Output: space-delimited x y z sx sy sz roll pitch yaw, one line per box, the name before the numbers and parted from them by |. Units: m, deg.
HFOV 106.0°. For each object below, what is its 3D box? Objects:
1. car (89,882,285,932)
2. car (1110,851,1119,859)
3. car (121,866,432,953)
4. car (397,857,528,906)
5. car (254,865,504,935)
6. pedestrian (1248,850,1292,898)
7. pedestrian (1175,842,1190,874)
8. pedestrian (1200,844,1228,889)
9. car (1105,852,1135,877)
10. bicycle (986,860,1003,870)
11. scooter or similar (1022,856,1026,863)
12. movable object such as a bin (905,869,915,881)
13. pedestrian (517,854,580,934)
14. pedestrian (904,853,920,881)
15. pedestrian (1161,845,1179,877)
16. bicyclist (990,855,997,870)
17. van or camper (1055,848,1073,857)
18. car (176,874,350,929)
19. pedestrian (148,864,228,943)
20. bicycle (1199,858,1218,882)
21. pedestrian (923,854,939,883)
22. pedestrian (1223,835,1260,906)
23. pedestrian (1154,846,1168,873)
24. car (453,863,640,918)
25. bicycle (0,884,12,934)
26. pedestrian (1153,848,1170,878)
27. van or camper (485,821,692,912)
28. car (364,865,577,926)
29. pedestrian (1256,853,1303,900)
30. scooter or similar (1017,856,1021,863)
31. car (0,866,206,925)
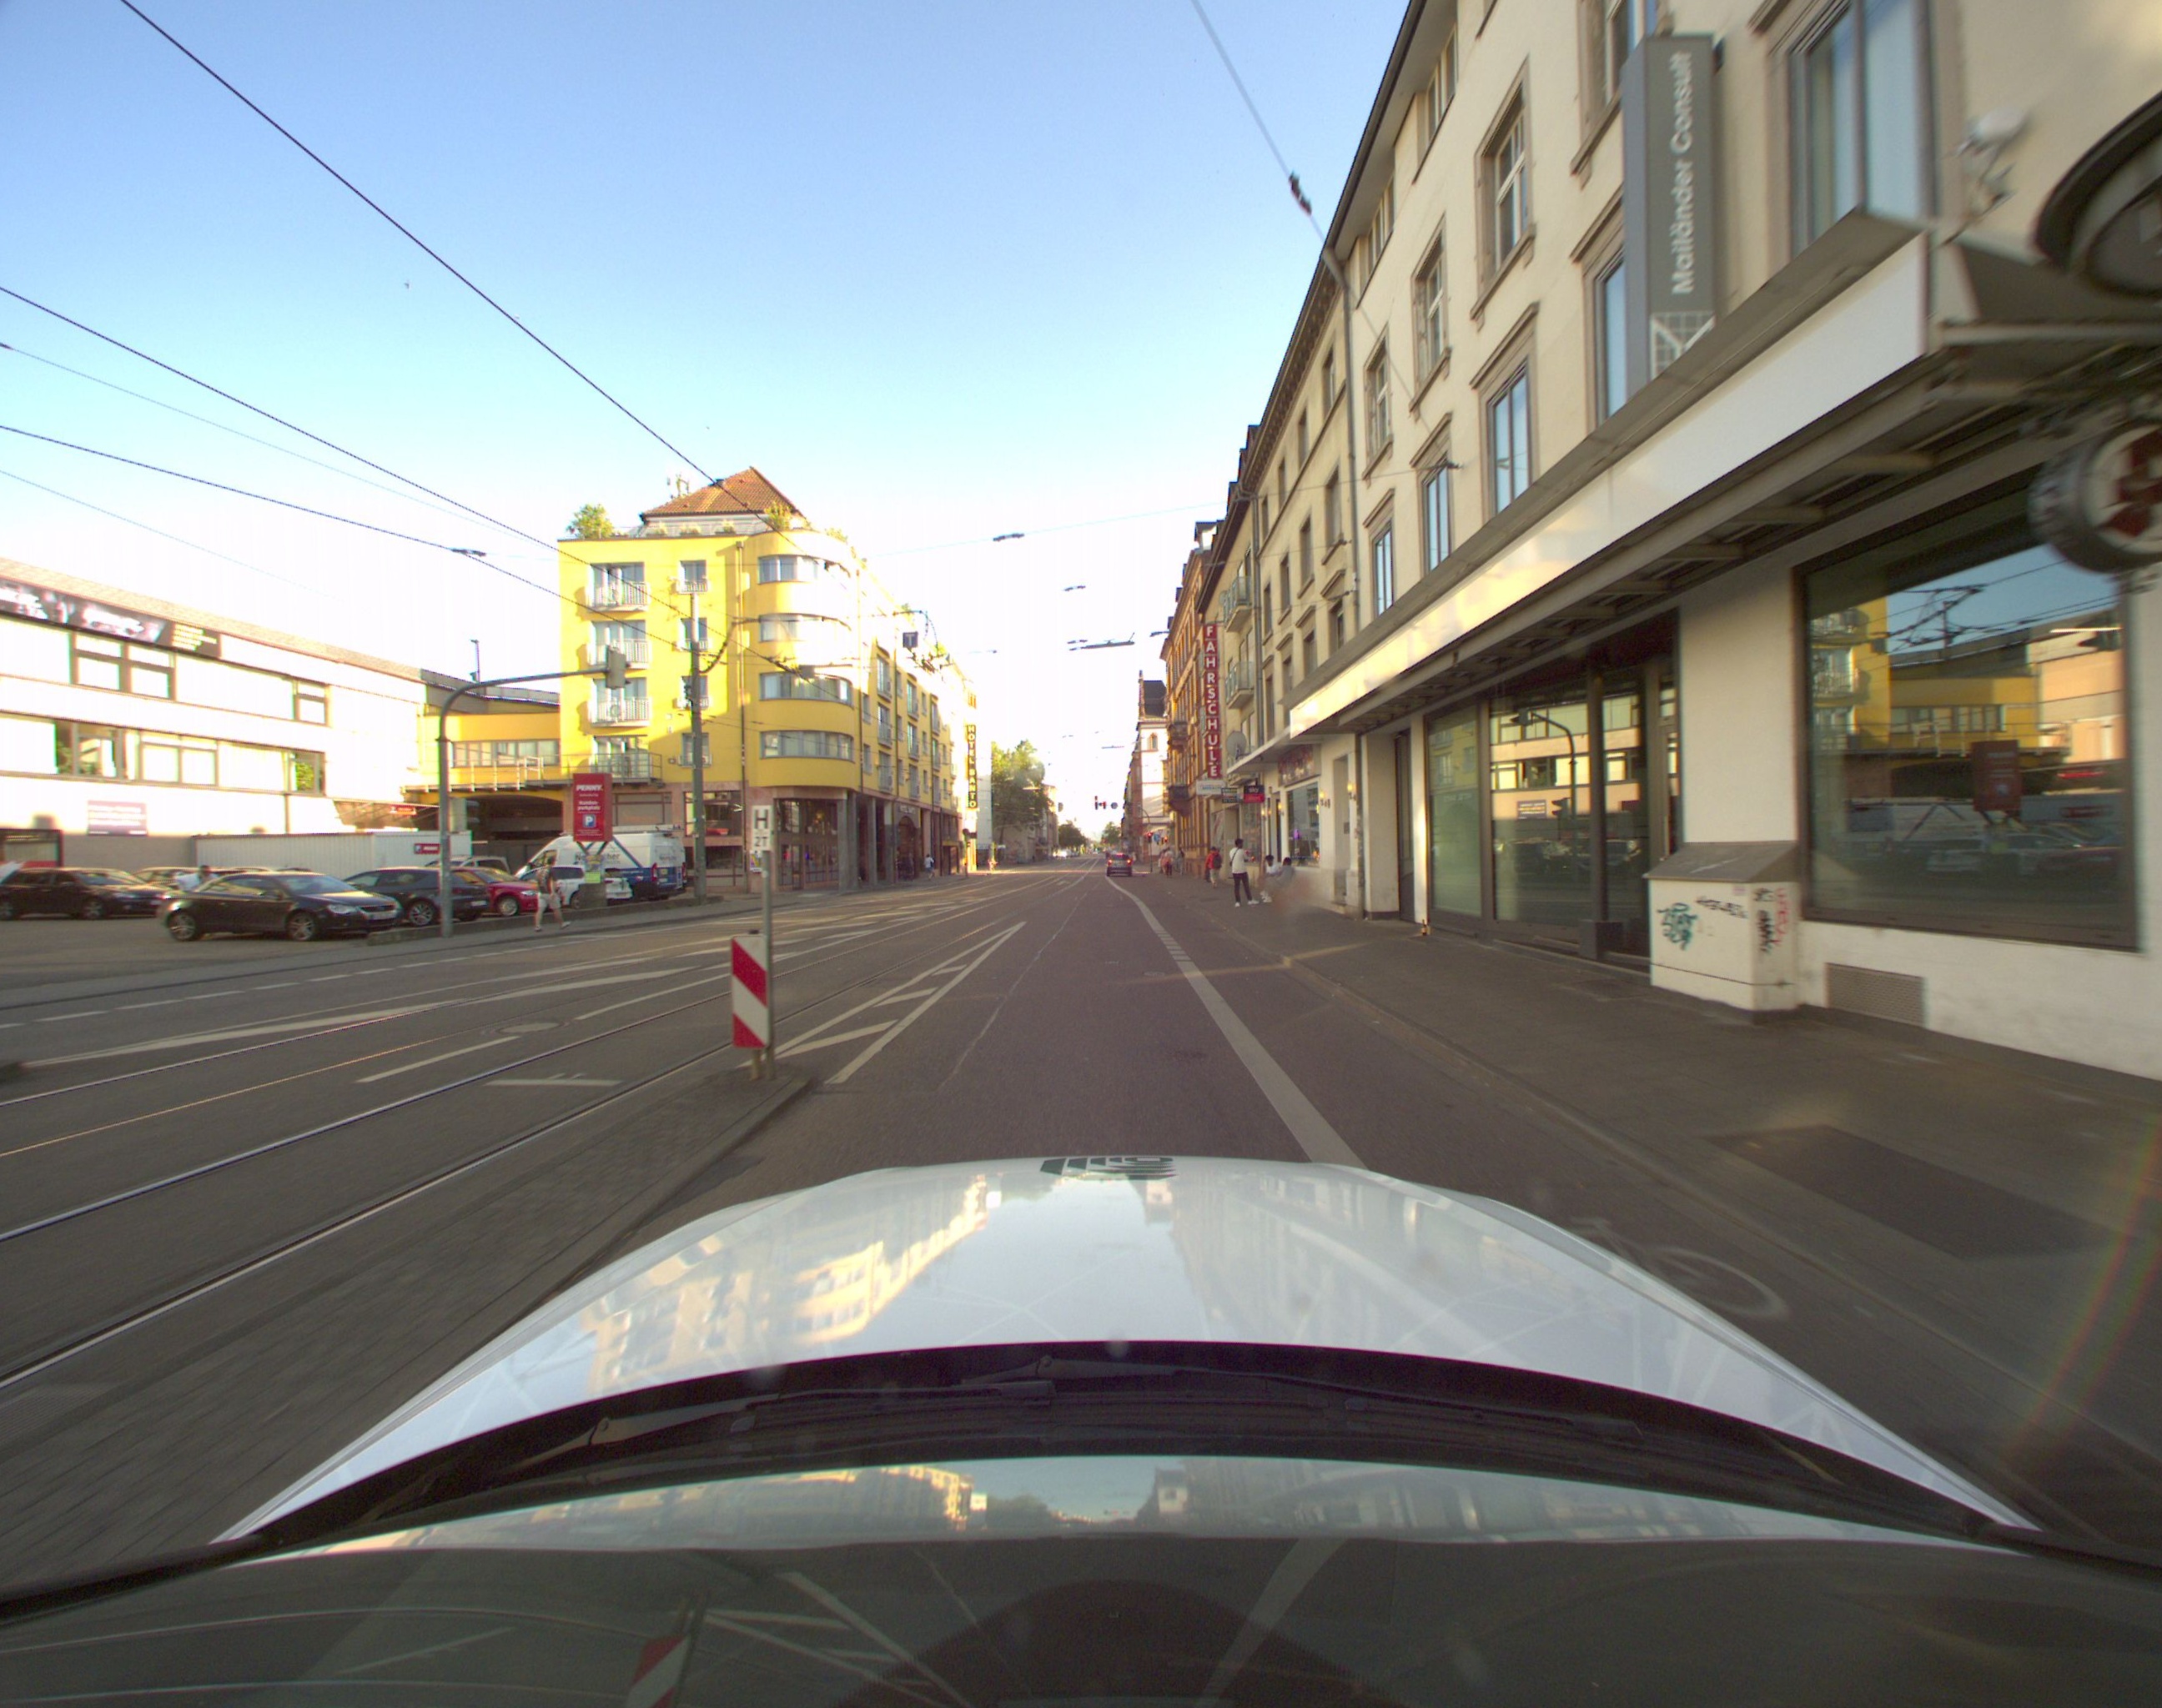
car | -28.491 1.670 26.055 3.975 1.354 1.999 -1 0 -1
car | 7.470 0.258 180.615 1.942 1.684 4.003 -1 0 3
car | -17.237 1.148 17.618 4.875 1.583 1.881 -2 1 2
car | -24.414 1.020 32.355 1.987 1.736 4.121 -2 0 0
car | -17.281 1.095 20.203 4.570 1.475 1.881 -2 1 2
pedestrian | 5.415 0.584 23.319 0.834 1.255 0.699 -8 0 -33
pedestrian | 6.283 0.260 50.442 0.688 1.908 0.670 -6 0 0
pedestrian | 5.162 0.465 31.715 0.795 1.627 0.826 -7 0 1
car | 2.724 0.721 58.019 1.986 1.618 4.001 -2 0 1
bicycle | -9.186 1.181 86.190 1.714 1.034 0.597 1 -1 -10
scooter or similar | -9.287 0.907 132.034 0.515 1.057 1.478 -1 0 0
movable object such as a bin | -11.060 1.350 52.628 0.381 0.716 0.842 3 1 3
pedestrian | -12.796 0.940 19.591 0.830 1.832 0.910 -2 0 1
pedestrian | -11.094 0.822 53.364 0.795 1.771 0.750 3 1 1
pedestrian | 5.173 0.395 47.320 0.803 1.799 1.092 -6 1 0
bicyclist | -9.248 0.904 86.202 0.740 1.634 0.606 1 -1 -10
van or camper | -4.911 -0.367 230.830 4.663 2.563 1.981 -1 -1 -29
car | -28.465 1.613 28.455 3.975 1.700 1.999 -1 0 -1
pedestrian | -19.721 1.069 18.005 0.766 1.669 0.837 -2 0 3
bicycle | 6.059 0.762 38.797 0.553 1.061 2.312 -4 0 2
pedestrian | -9.882 0.963 53.548 0.749 1.818 1.046 3 1 2
pedestrian | 4.364 0.441 22.088 0.699 1.812 0.682 -7 0 17
pedestrian | 5.588 0.392 56.936 0.802 1.799 0.762 -6 0 1
car | -16.575 1.112 25.401 4.570 1.475 1.881 -2 1 2
bicycle | -26.215 1.338 18.801 0.429 1.187 1.836 -2 1 9
pedestrian | 5.043 0.536 51.121 0.803 1.799 0.761 -6 0 0
van or camper | -16.743 0.407 27.911 5.584 2.827 2.317 -2 1 2
car | -17.114 1.139 22.983 4.570 1.475 1.881 -2 1 2
pedestrian | 5.406 0.622 22.232 0.707 1.174 1.010 -7 0 -17
scooter or similar | -9.995 0.875 132.011 0.515 1.045 1.478 -1 0 0
car | -28.229 1.164 23.378 3.975 1.508 1.999 -1 0 -1
